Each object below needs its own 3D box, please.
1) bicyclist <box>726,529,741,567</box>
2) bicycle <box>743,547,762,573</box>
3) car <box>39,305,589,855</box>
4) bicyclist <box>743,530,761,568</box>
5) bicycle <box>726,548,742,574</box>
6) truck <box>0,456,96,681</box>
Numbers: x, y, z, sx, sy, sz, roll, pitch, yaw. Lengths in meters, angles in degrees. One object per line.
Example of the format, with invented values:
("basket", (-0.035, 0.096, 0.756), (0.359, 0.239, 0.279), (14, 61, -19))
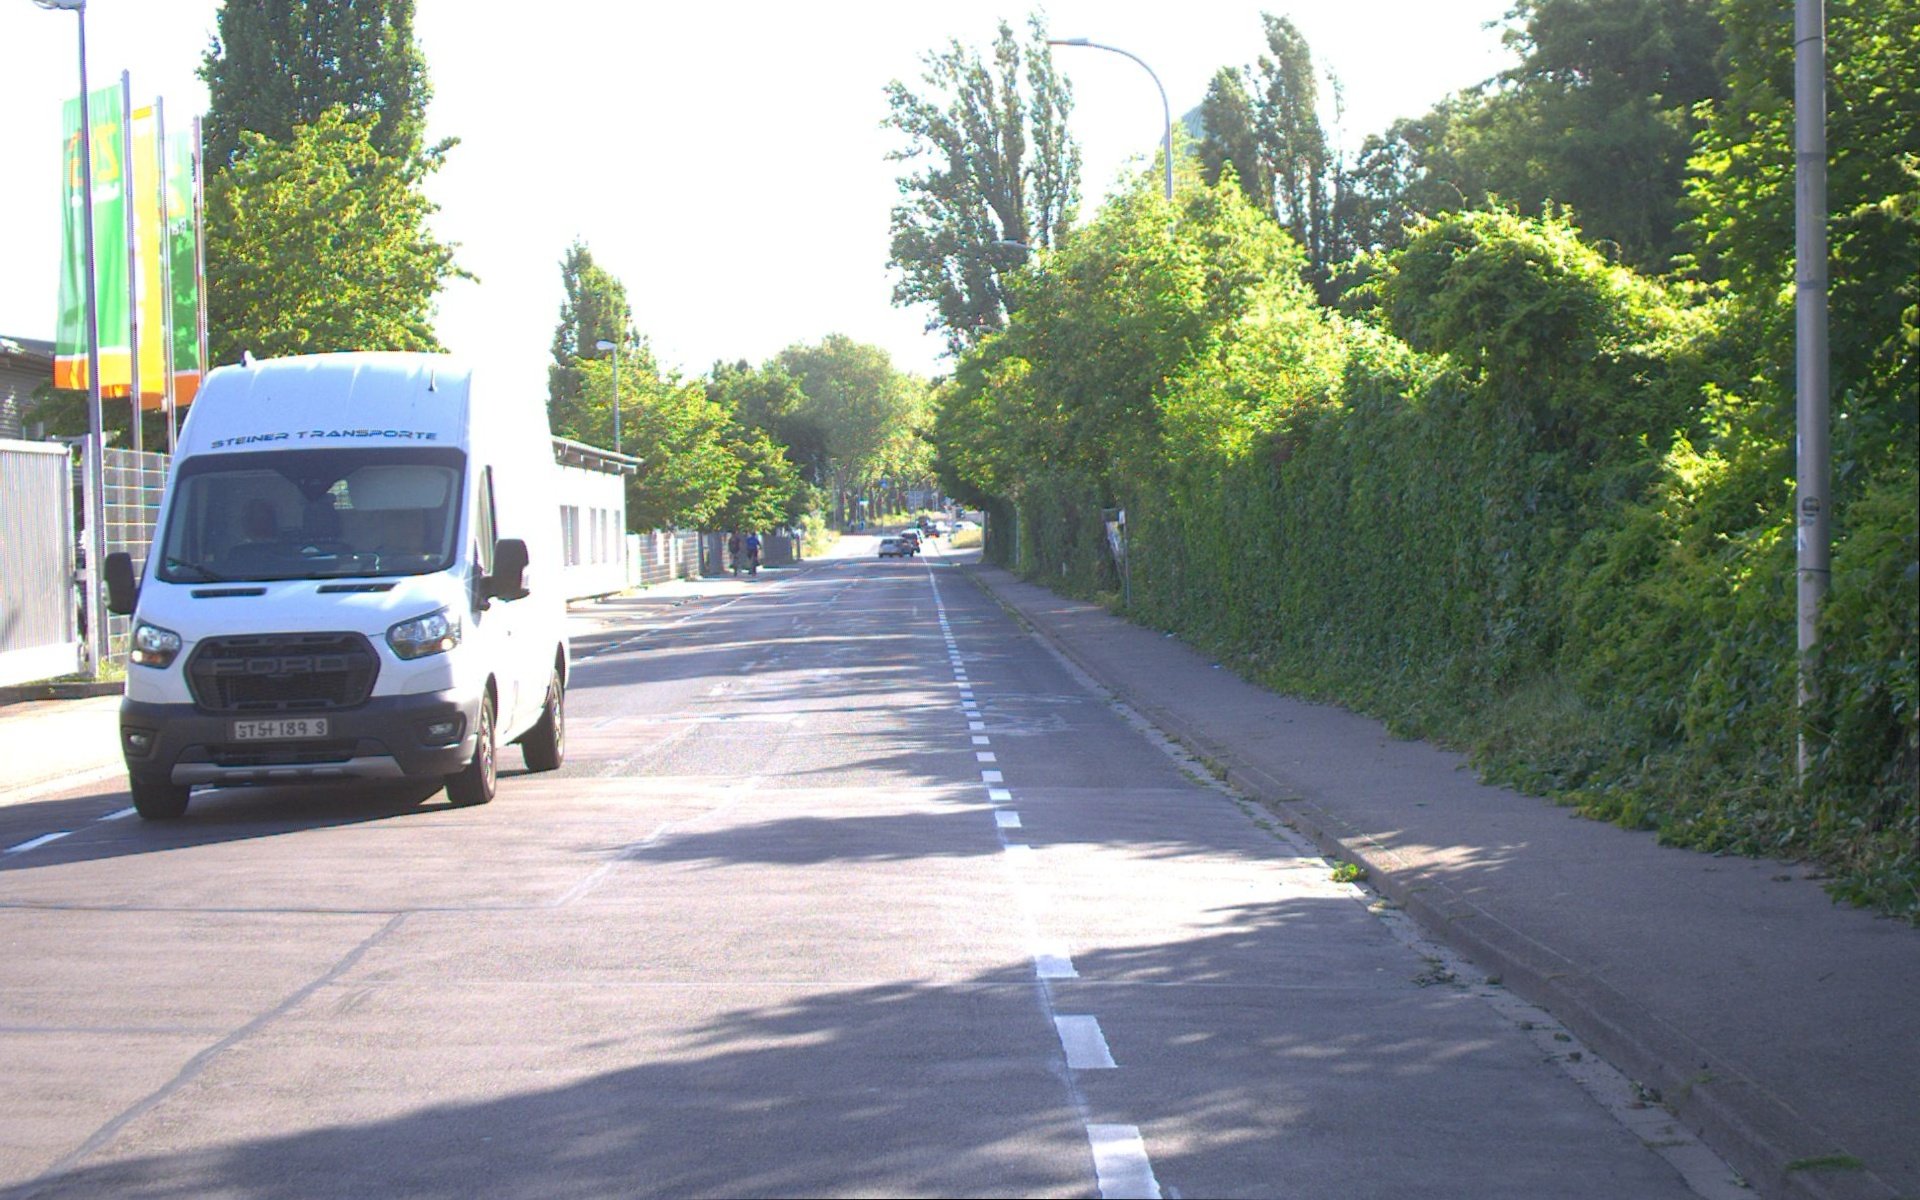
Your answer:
("bicyclist", (-9.138, -2.091, 138.909), (0.560, 1.528, 0.689), (0, 1, -1))
("bicycle", (-8.388, -1.633, 138.864), (0.689, 1.030, 1.351), (0, 1, -1))
("car", (-3.747, -0.155, 21.224), (2.123, 2.771, 5.927), (-4, 1, 0))
("bicyclist", (-8.386, -2.065, 138.741), (0.689, 1.526, 0.722), (0, 1, -1))
("bicycle", (-9.131, -1.584, 138.998), (0.563, 1.030, 1.351), (0, 1, -1))
("truck", (-12.875, -0.404, 44.151), (2.078, 2.752, 5.765), (-2, 2, -1))
